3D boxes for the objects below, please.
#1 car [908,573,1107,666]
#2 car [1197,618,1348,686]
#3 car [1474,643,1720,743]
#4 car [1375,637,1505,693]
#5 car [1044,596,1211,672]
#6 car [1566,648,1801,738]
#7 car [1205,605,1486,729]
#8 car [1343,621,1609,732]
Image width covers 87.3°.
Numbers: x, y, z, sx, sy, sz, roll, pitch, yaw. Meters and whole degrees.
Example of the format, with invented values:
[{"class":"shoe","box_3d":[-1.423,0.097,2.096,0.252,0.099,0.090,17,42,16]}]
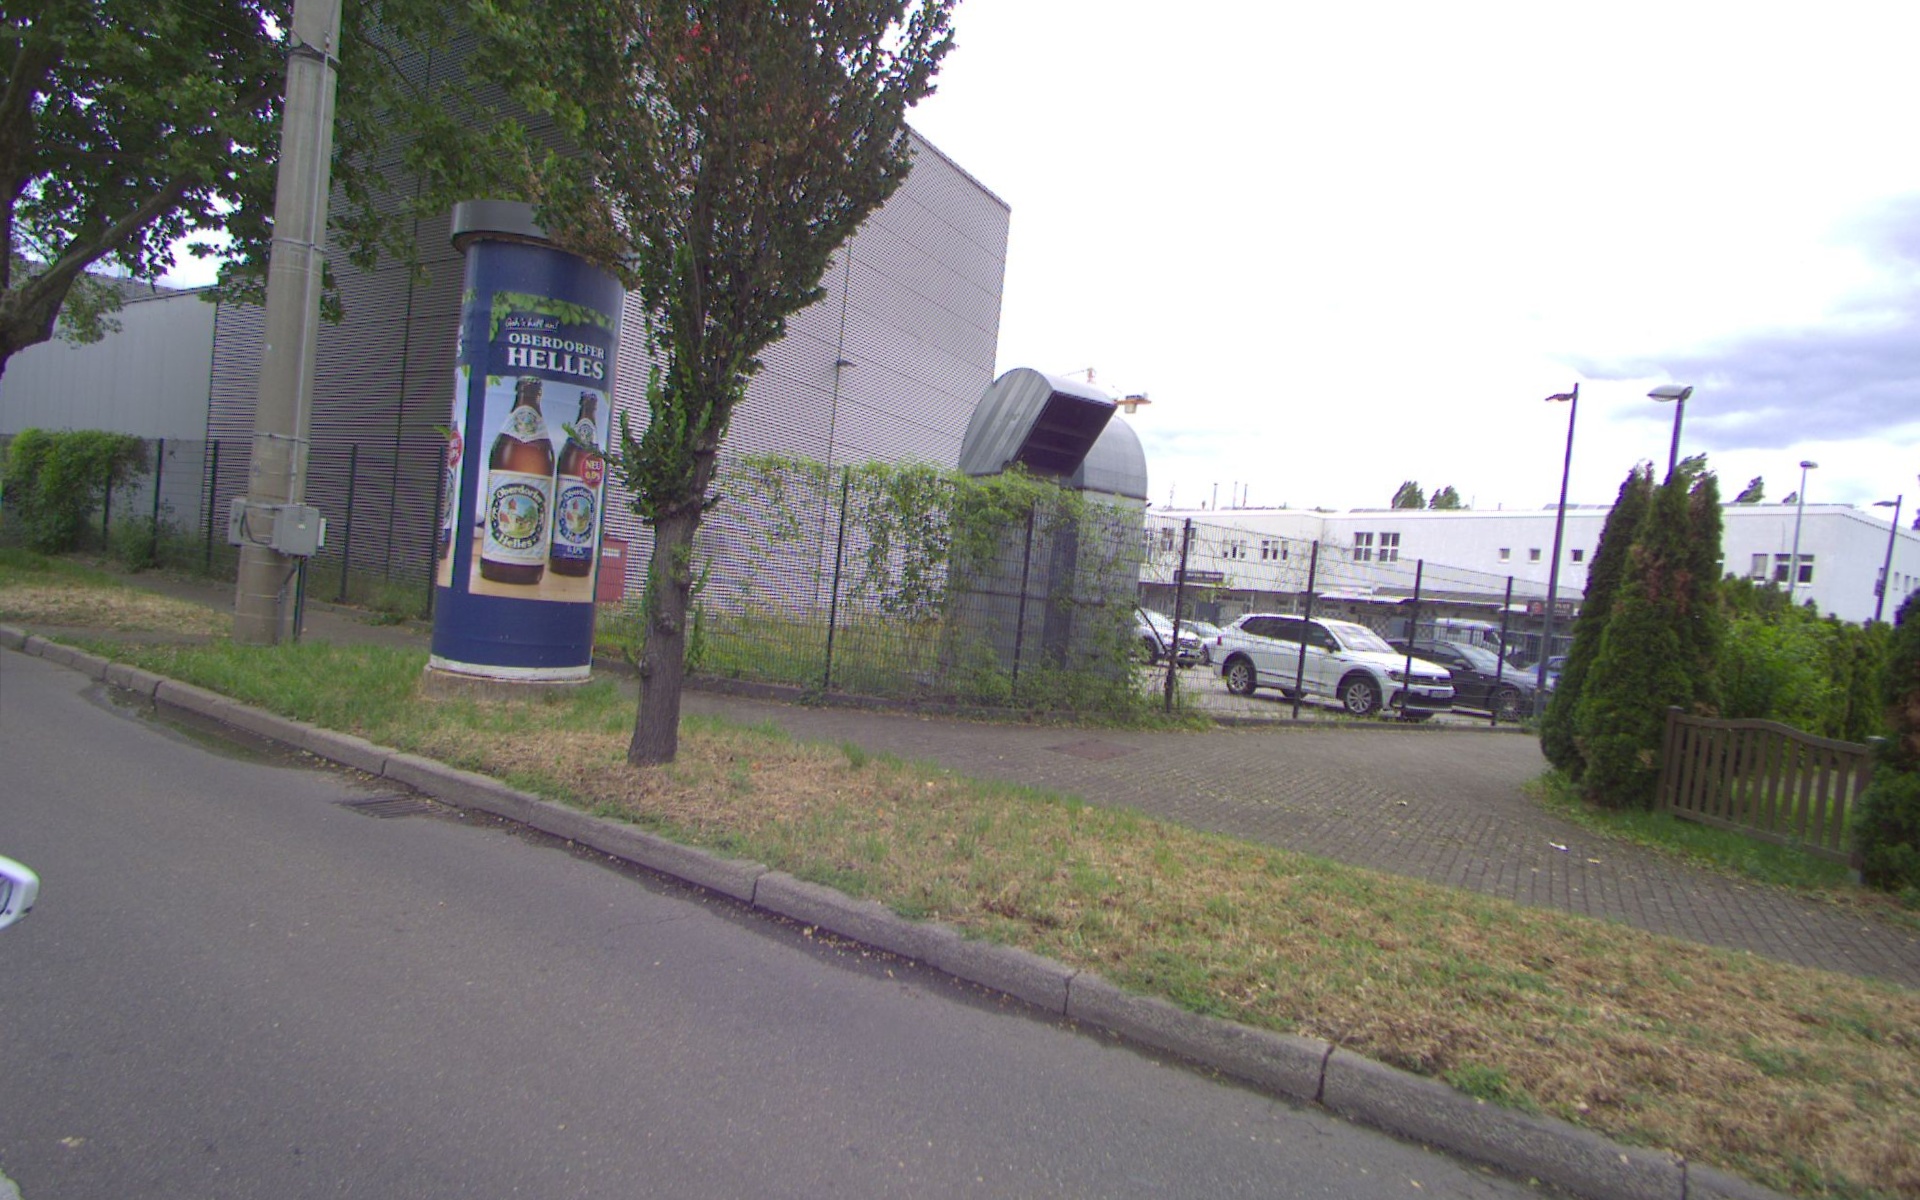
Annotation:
[{"class":"car","box_3d":[1.123,0.462,24.231,4.197,1.668,1.999,6,-2,29]},{"class":"car","box_3d":[10.031,1.641,32.590,1.982,1.668,4.233,8,-2,-34]},{"class":"car","box_3d":[15.085,2.160,24.097,1.979,1.686,4.464,6,1,-31]},{"class":"car","box_3d":[19.392,2.600,40.782,1.982,1.668,4.233,8,-2,-34]},{"class":"car","box_3d":[4.851,0.953,29.589,4.418,1.687,1.999,6,1,-1]},{"class":"car","box_3d":[18.753,2.370,26.320,1.979,1.686,4.464,6,1,-31]},{"class":"car","box_3d":[6.951,1.157,18.654,1.979,1.686,4.464,6,1,-31]},{"class":"car","box_3d":[10.616,1.520,21.060,1.979,1.686,4.464,6,1,-31]}]
